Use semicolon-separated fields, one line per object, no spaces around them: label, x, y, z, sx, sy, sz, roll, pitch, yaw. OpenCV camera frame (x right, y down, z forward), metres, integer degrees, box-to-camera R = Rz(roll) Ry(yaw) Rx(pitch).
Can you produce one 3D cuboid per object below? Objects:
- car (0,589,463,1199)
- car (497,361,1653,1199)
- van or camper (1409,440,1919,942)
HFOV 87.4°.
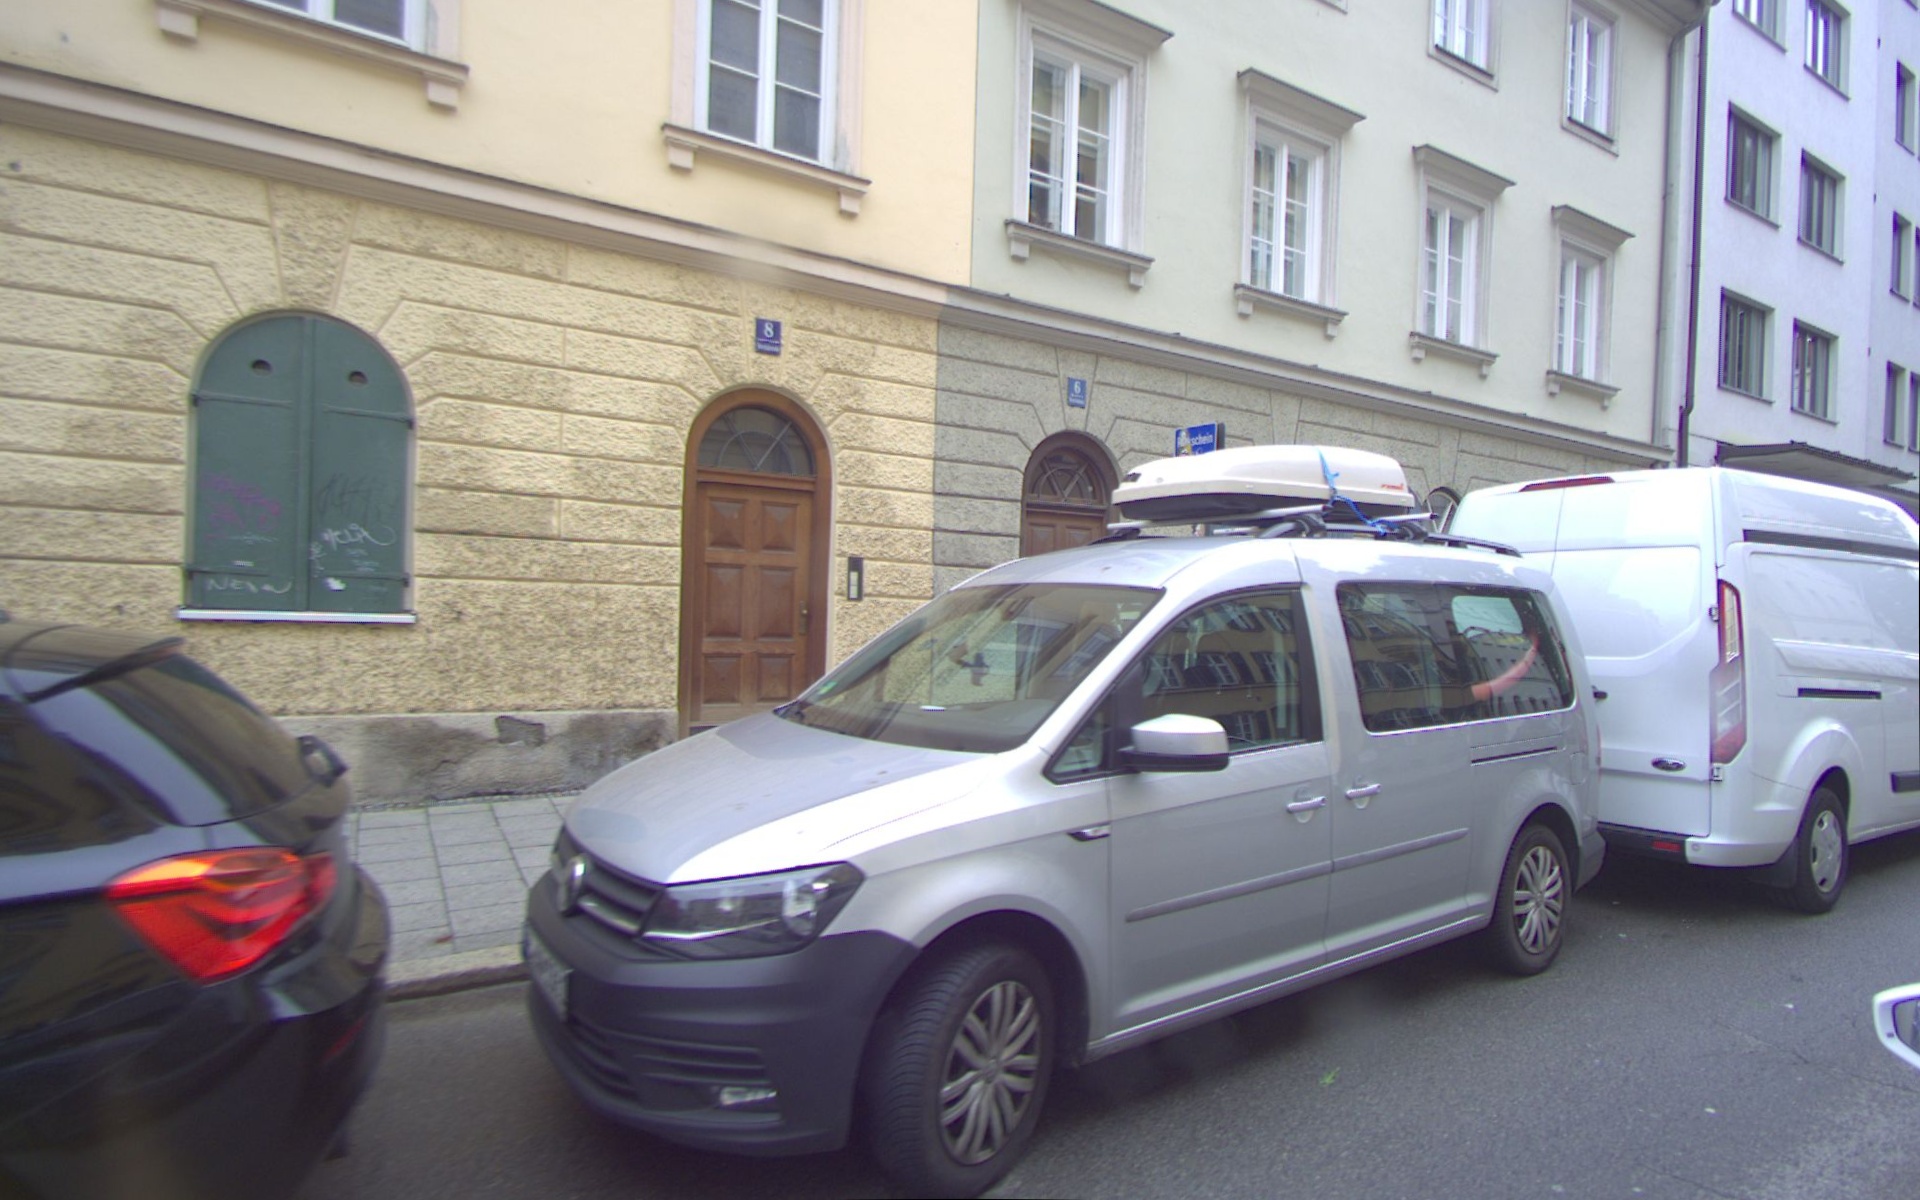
car;-3.115;0.670;1.540;4.058;1.427;1.745;2;0;-32
car;0.803;0.582;4.027;4.579;2.021;1.743;2;0;-35
van or camper;5.424;0.473;6.756;5.214;2.311;1.745;2;0;-32
